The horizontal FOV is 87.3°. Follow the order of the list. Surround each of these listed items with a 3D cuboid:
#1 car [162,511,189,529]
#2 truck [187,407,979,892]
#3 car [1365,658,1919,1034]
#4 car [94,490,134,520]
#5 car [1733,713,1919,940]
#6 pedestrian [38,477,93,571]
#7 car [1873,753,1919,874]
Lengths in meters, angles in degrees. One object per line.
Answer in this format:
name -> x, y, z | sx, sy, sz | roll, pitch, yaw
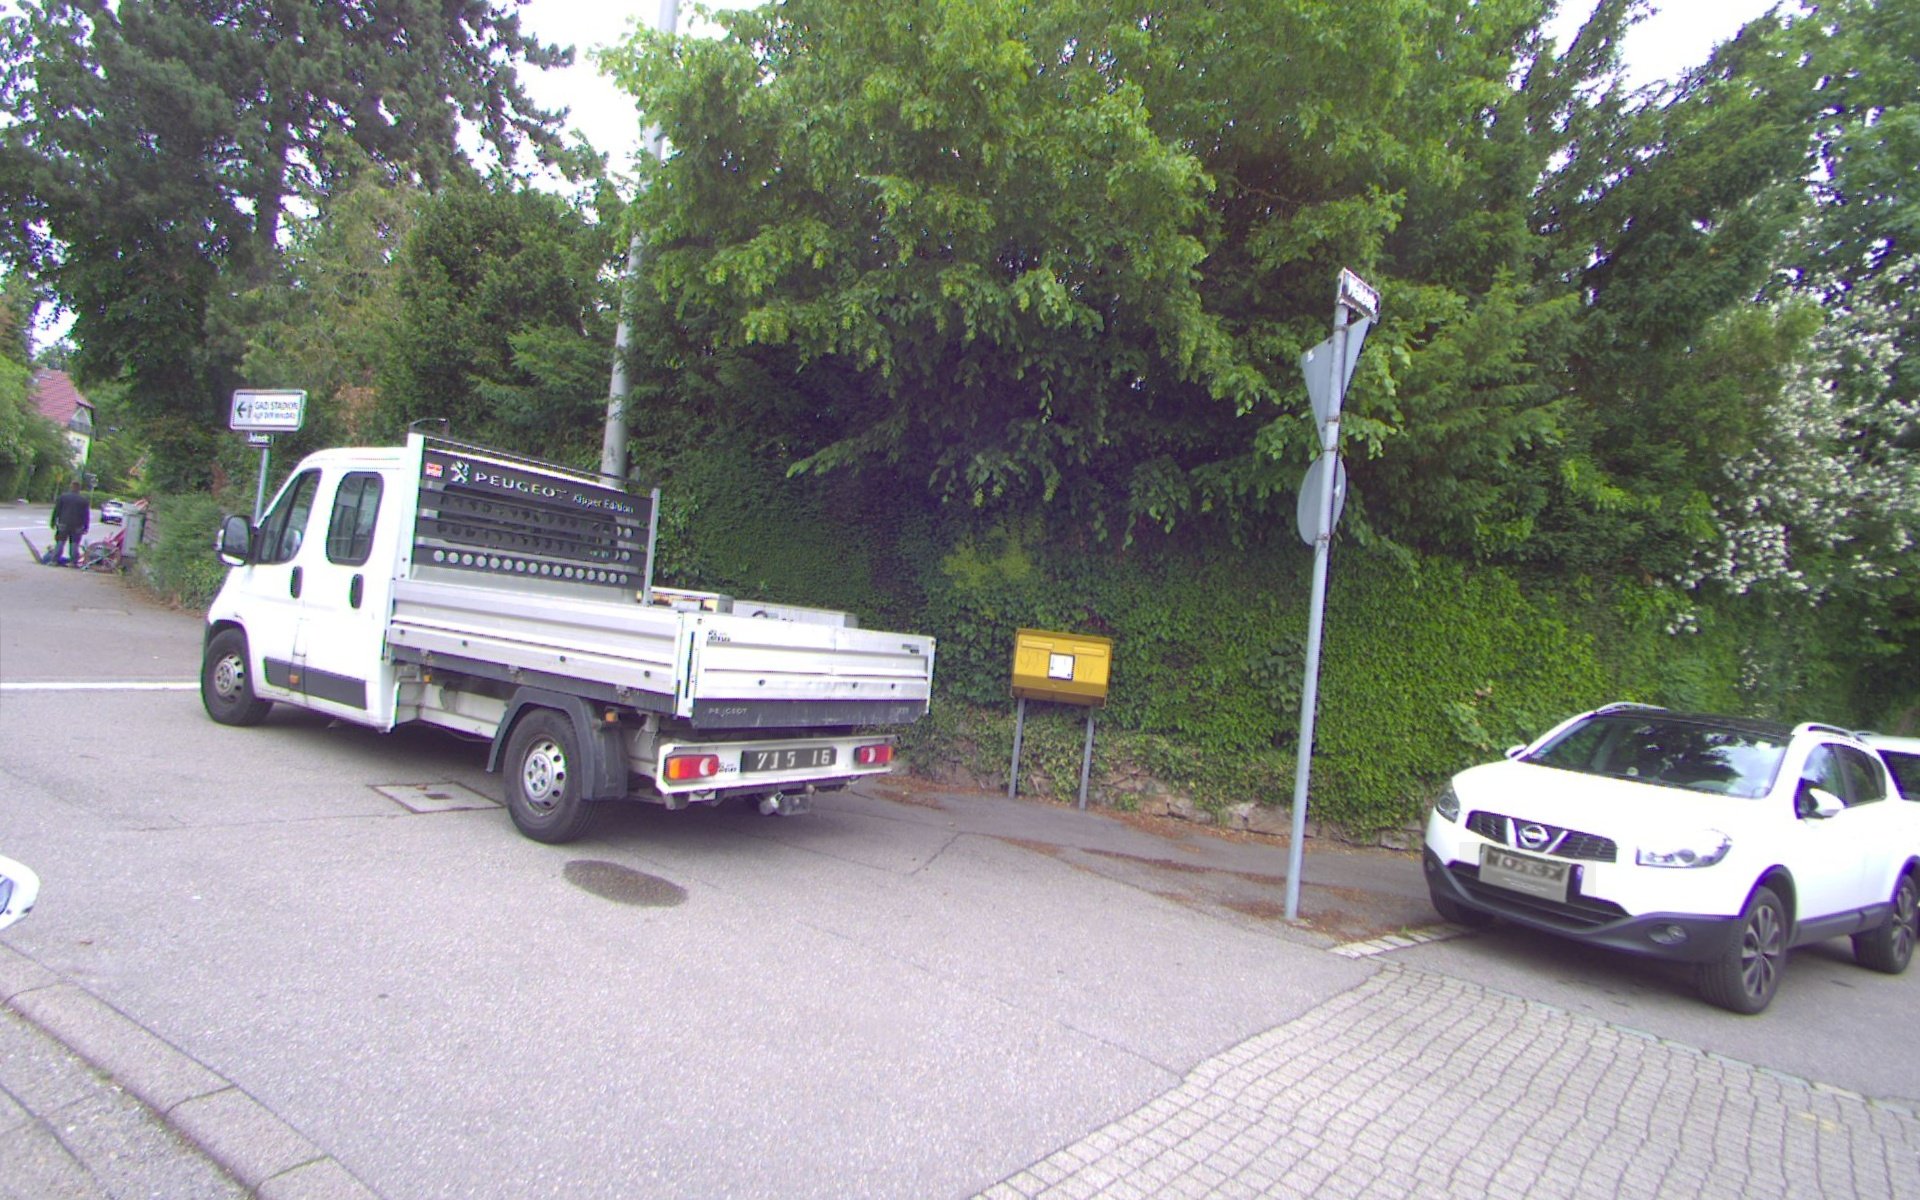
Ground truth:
car -> -78.119, -7.963, 100.218 | 1.683, 1.448, 3.714 | 7, 0, -34
truck -> -2.935, 0.082, 7.167 | 5.631, 2.270, 2.211 | 6, -2, 34
car -> 4.765, 1.468, 6.663 | 4.098, 1.641, 1.783 | 9, -2, -34
car -> -59.475, -6.628, 70.811 | 1.798, 1.775, 4.441 | 7, 0, -37
car -> 9.044, 2.114, 9.476 | 4.041, 1.641, 1.781 | 9, -3, -38
pedestrian -> -19.599, -1.662, 22.050 | 0.549, 1.929, 0.597 | 7, -1, 32
car -> 13.855, 2.954, 13.429 | 4.040, 1.440, 1.781 | 8, -2, -38
